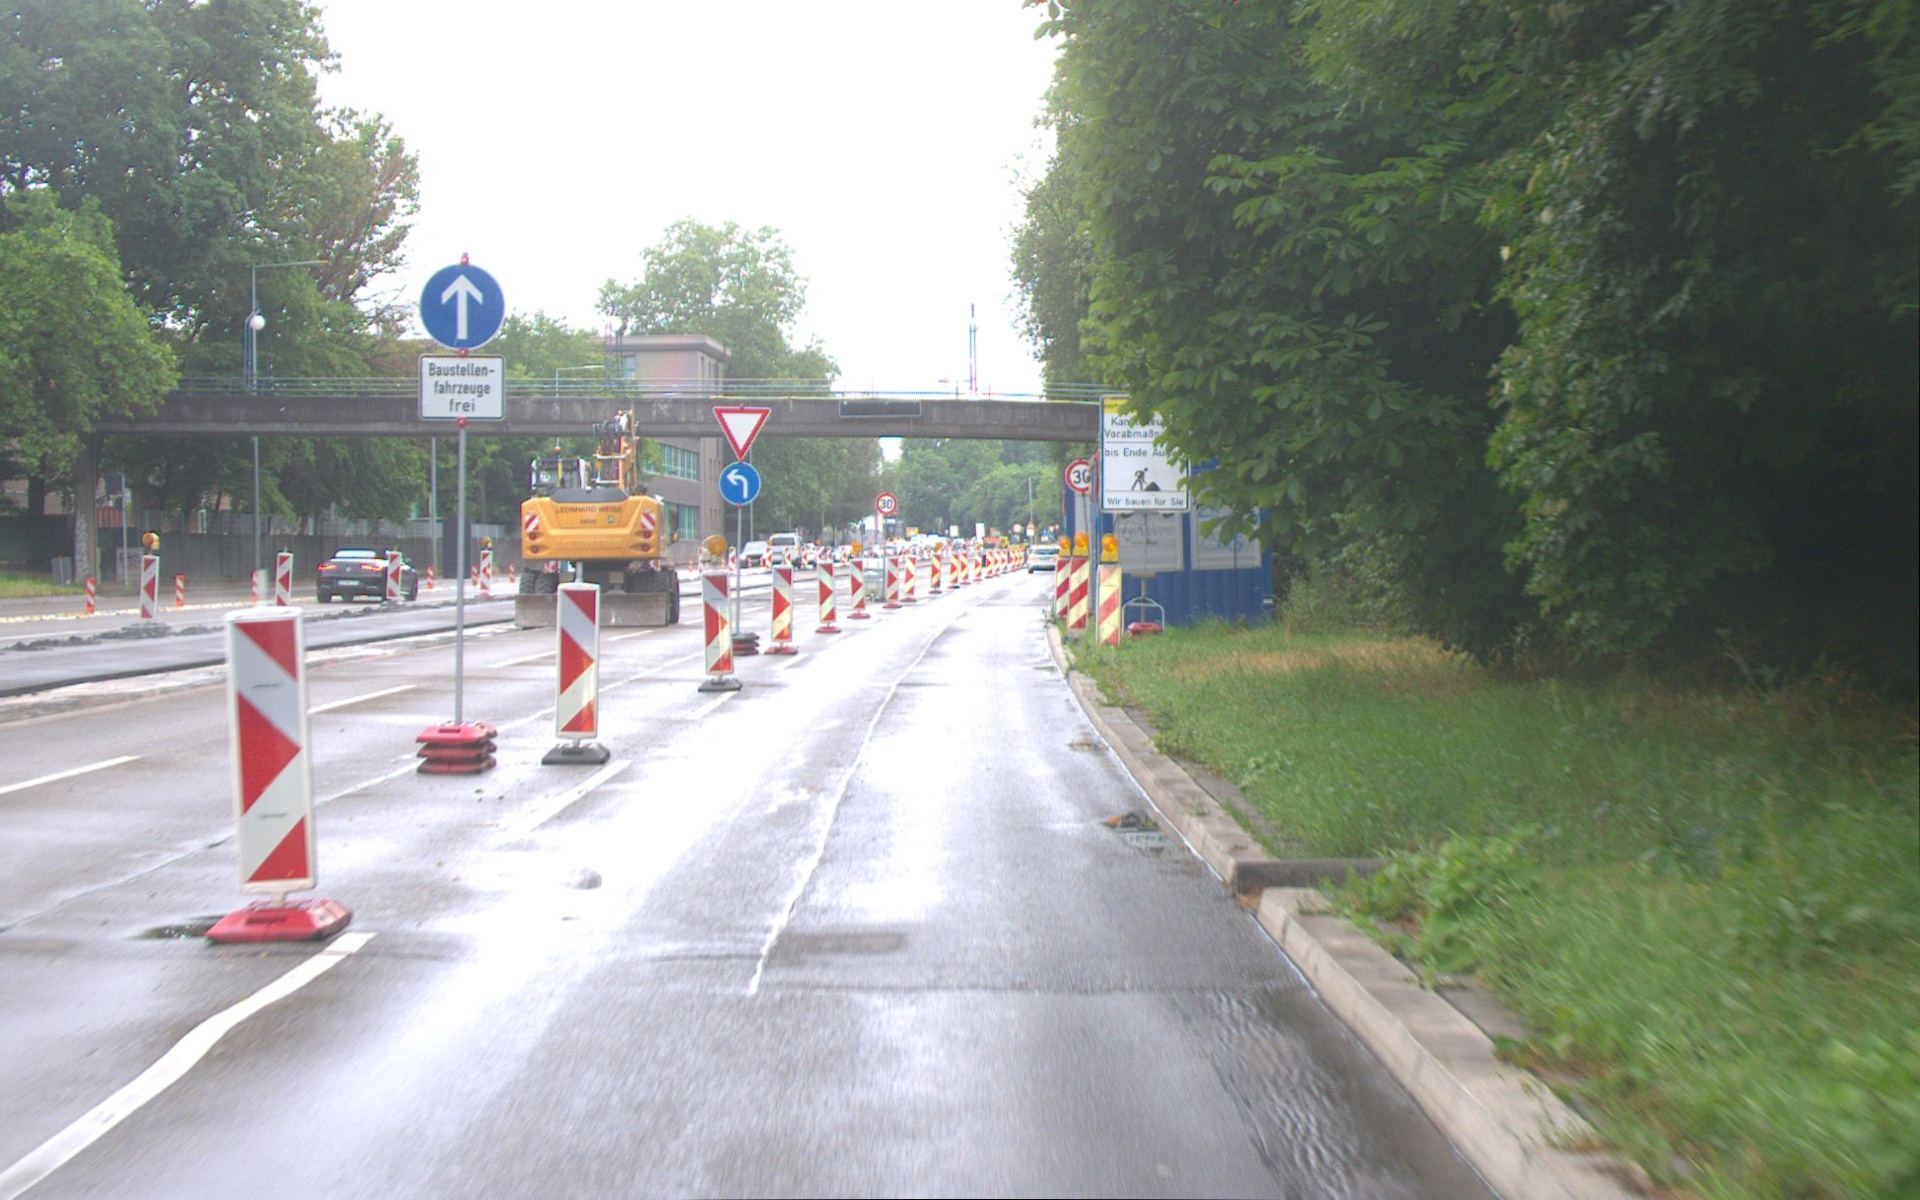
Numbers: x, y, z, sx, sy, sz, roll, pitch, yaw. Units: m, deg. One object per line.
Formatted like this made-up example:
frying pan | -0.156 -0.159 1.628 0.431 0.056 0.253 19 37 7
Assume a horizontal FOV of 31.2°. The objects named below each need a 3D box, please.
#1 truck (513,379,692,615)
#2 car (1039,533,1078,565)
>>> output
truck | -6.917 -1.976 67.870 2.897 4.244 10.757 1 1 -3
car | 5.259 -2.723 182.959 1.993 1.634 4.000 -1 1 2
